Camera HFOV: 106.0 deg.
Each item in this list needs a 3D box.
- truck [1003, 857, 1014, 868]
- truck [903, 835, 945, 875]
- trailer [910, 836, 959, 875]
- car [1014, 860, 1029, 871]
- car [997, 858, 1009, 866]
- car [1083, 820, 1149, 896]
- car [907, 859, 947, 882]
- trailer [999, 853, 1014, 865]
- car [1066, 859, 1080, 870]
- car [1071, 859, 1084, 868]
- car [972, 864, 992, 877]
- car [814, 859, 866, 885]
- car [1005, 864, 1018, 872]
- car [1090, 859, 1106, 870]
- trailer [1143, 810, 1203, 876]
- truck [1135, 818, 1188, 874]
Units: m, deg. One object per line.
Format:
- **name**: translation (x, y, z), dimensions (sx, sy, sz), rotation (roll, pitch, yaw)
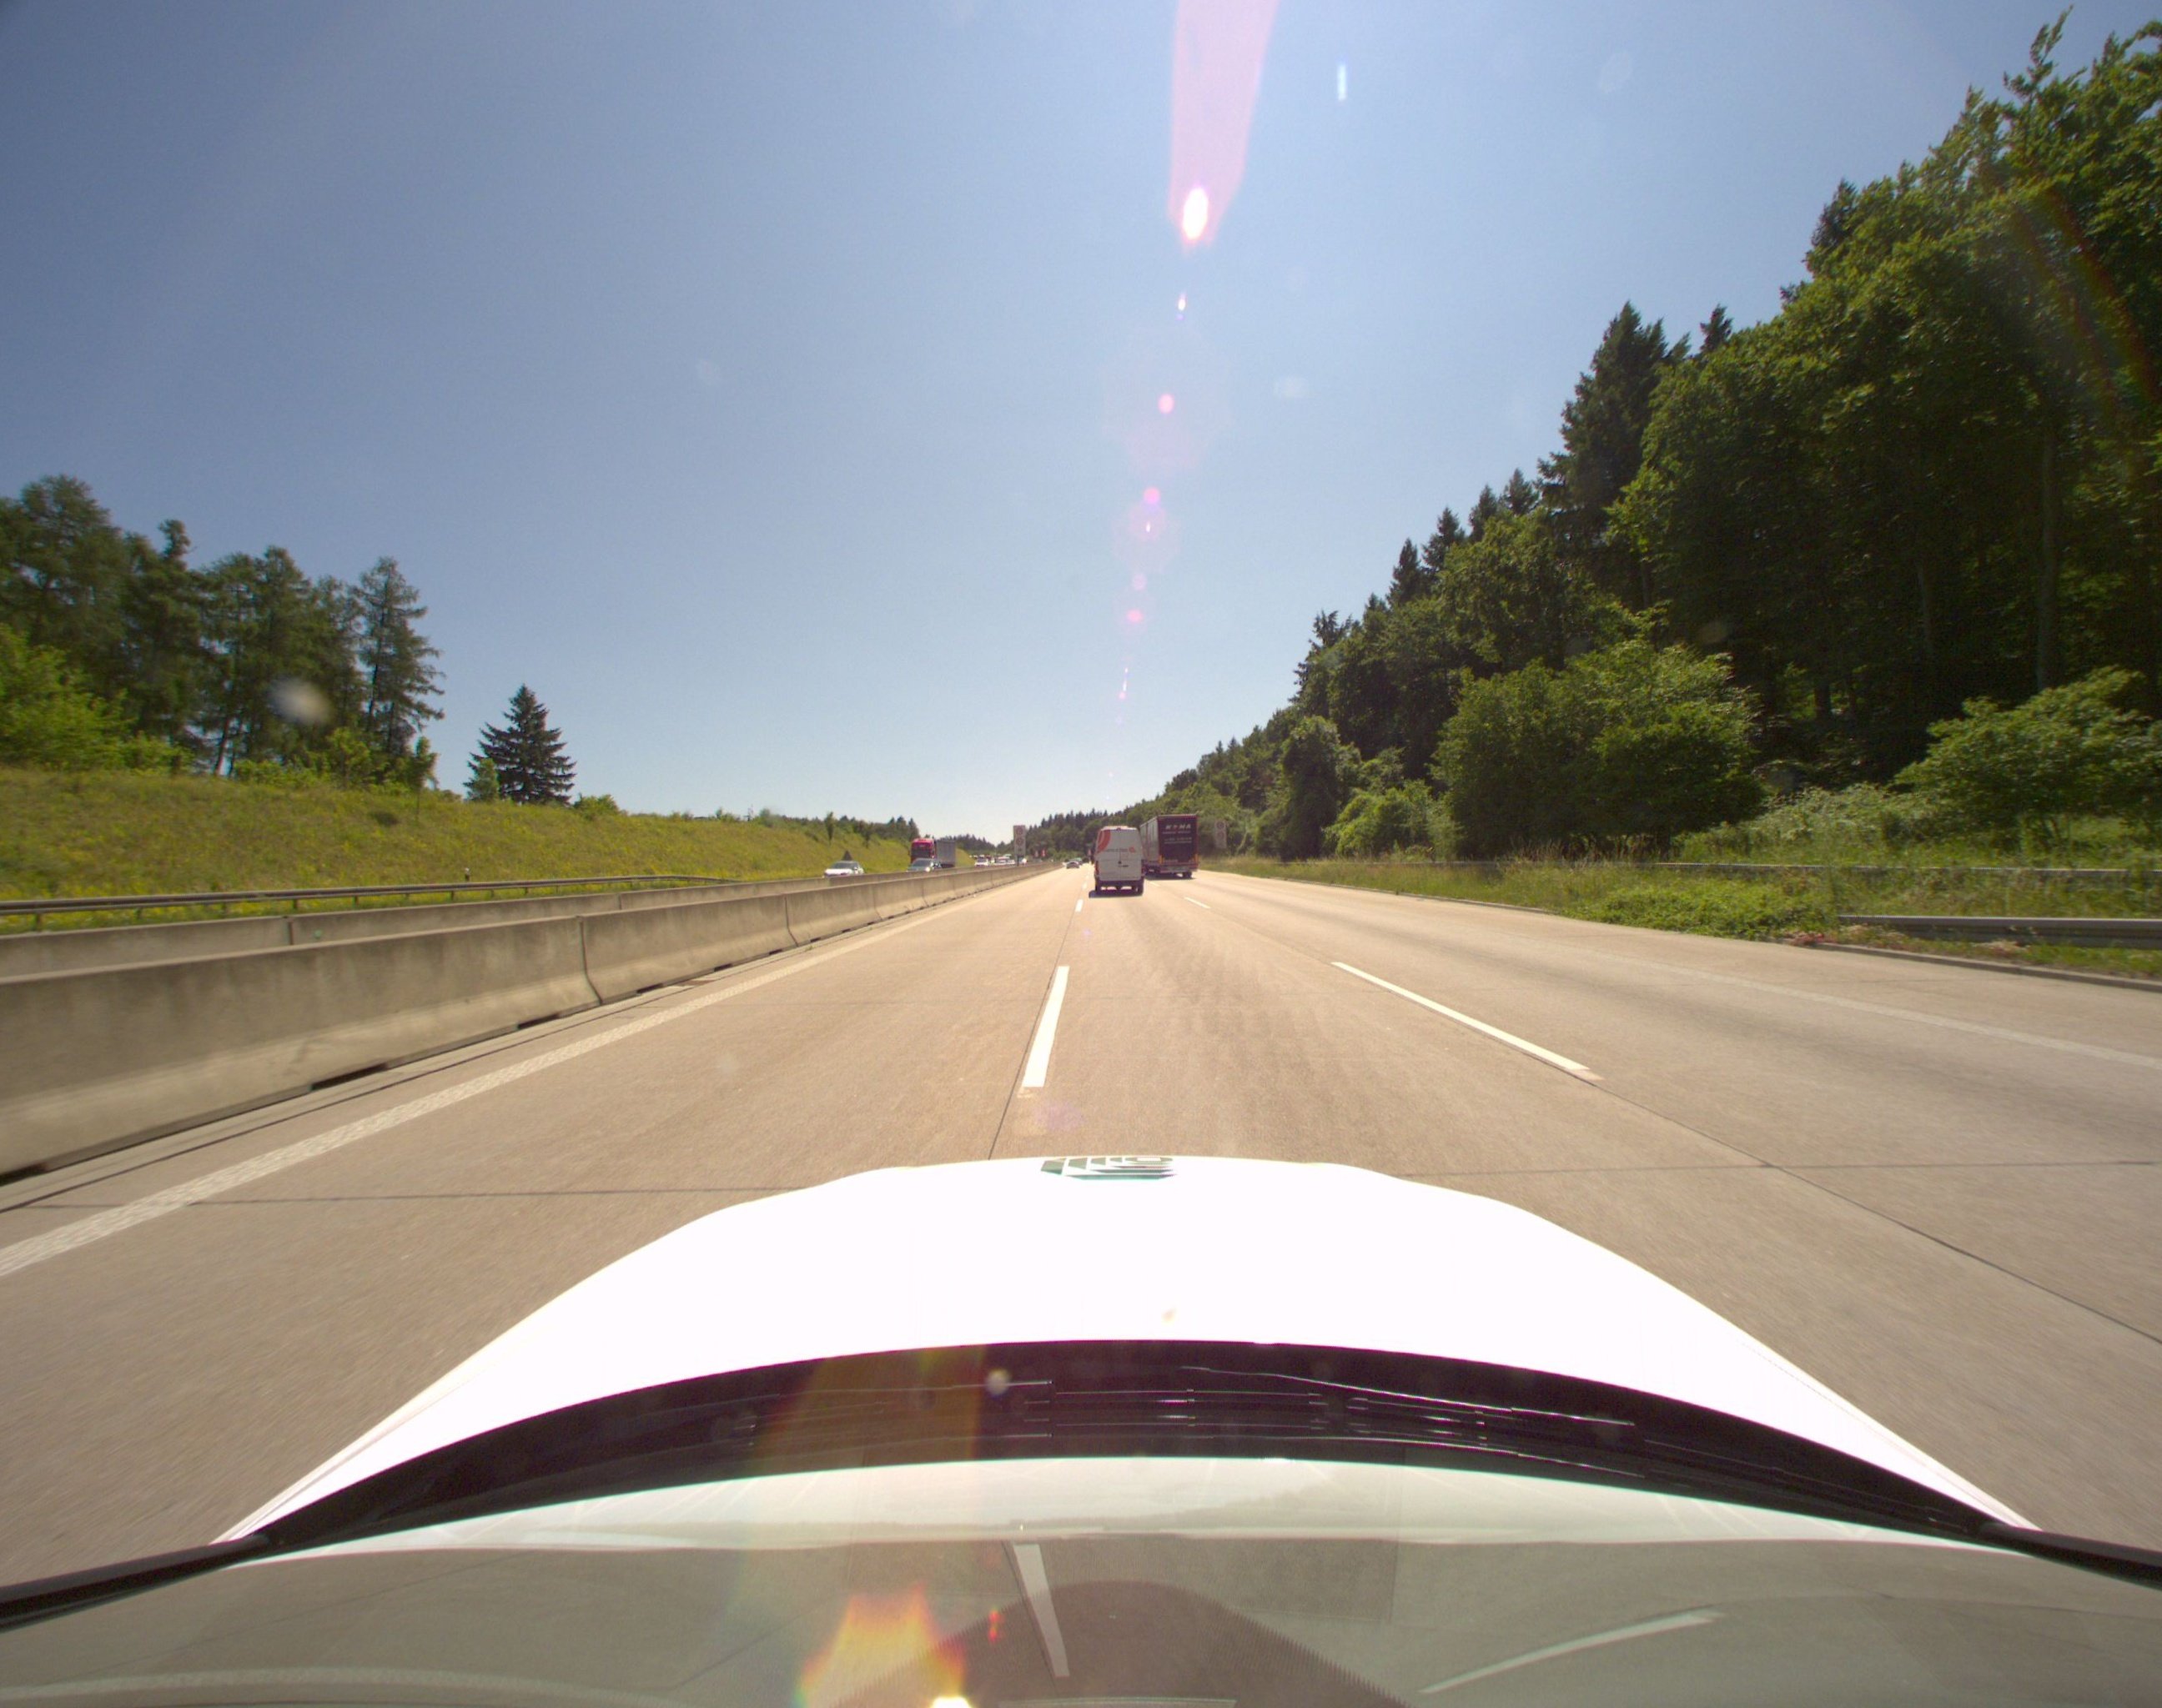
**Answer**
- **truck**: translation (-22.117, 2.654, 248.673), dimensions (2.716, 3.413, 4.512), rotation (-1, -1, 0)
- **truck**: translation (-18.038, 0.157, 93.746), dimensions (3.375, 4.431, 6.801), rotation (-1, -1, 1)
- **trailer**: translation (-17.925, 0.274, 100.825), dimensions (3.375, 4.431, 13.924), rotation (-1, -1, 1)
- **car**: translation (-9.379, 1.762, 128.284), dimensions (1.987, 1.692, 4.372), rotation (-1, 0, 1)
- **car**: translation (-17.259, 1.723, 180.272), dimensions (1.986, 1.659, 5.374), rotation (-1, 0, 1)
- **car**: translation (1.363, 0.140, 34.245), dimensions (2.221, 2.844, 5.450), rotation (-2, 0, -2)
- **car**: translation (-11.046, 1.164, 58.582), dimensions (1.987, 1.538, 4.196), rotation (-1, 0, 1)
- **trailer**: translation (-17.129, 1.237, 186.884), dimensions (2.597, 2.631, 7.782), rotation (-1, 0, 1)
- **car**: translation (-1.105, 1.550, 119.351), dimensions (1.987, 1.684, 3.999), rotation (-1, -1, 0)
- **car**: translation (-0.699, 1.788, 155.699), dimensions (1.991, 1.684, 3.991), rotation (-1, -1, -6)
- **car**: translation (-13.209, 2.175, 108.894), dimensions (1.987, 1.692, 4.816), rotation (-1, 0, 1)
- **car**: translation (-14.925, 1.085, 50.708), dimensions (1.987, 1.564, 4.000), rotation (-1, 0, 1)
- **car**: translation (-13.518, 2.708, 158.039), dimensions (1.986, 1.558, 4.499), rotation (-1, 0, 1)
- **car**: translation (2.825, 1.744, 135.169), dimensions (1.992, 1.684, 3.989), rotation (0, -1, -7)
- **trailer**: translation (6.109, -0.638, 55.663), dimensions (3.123, 4.017, 9.090), rotation (-3, -1, 1)
- **truck**: translation (6.305, -0.563, 65.524), dimensions (3.149, 4.017, 10.608), rotation (-3, -1, 1)
